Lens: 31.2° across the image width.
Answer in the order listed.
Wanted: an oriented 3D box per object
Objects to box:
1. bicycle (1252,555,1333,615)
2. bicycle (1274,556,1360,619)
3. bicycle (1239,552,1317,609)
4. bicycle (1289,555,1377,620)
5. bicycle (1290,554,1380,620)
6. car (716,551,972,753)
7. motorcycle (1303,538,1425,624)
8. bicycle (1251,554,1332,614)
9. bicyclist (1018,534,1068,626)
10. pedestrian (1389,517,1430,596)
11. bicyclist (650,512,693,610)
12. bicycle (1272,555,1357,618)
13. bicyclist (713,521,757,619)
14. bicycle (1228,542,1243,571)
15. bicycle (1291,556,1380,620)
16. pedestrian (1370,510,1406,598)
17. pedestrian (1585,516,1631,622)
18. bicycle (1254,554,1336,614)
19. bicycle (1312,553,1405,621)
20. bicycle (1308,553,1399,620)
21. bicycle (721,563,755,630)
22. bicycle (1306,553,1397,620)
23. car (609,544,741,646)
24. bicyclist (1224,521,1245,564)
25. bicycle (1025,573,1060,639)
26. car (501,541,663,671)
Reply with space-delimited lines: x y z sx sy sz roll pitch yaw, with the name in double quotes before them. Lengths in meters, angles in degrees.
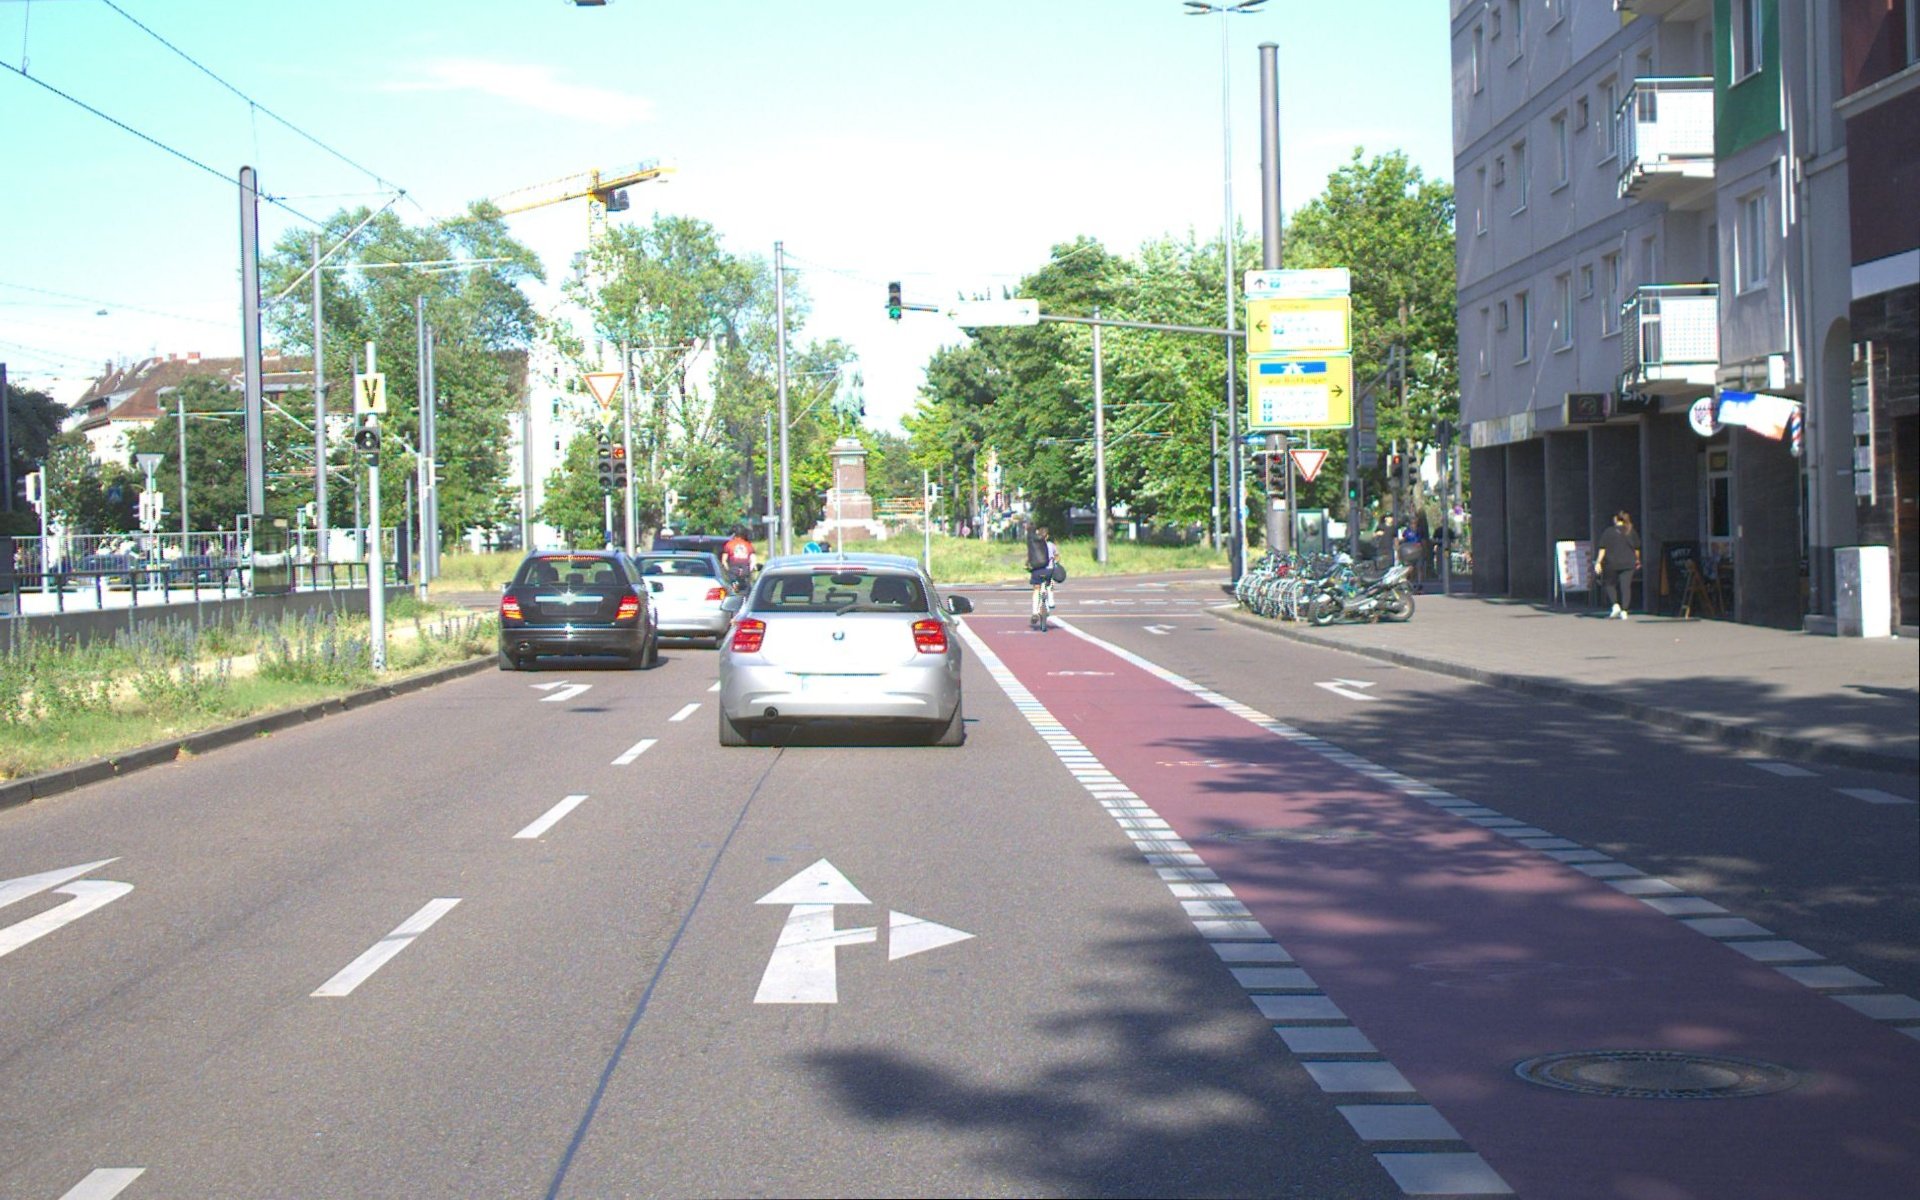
"bicycle" 6.231 -0.283 64.426 1.465 1.063 0.257 -2 0 1
"bicycle" 6.351 -0.222 61.127 1.465 1.063 0.257 -2 0 1
"bicycle" 6.205 -0.380 67.090 1.465 1.063 0.257 -2 0 1
"bicycle" 6.443 -0.221 59.393 1.465 1.063 0.257 -2 0 1
"bicycle" 6.349 -0.226 58.213 1.465 1.063 0.257 -2 0 1
"car" -0.866 0.338 26.226 1.798 1.410 4.000 0 1 -1
"motorcycle" 6.471 -0.310 55.099 1.855 1.296 0.652 -2 0 2
"bicycle" 6.237 -0.303 64.743 1.465 1.063 0.257 -2 0 1
"bicyclist" 1.386 -0.347 57.866 0.785 1.526 0.895 1 1 -1
"pedestrian" 10.584 -1.023 80.940 0.826 1.850 0.916 1 1 14
"bicyclist" -4.649 -0.631 55.357 0.616 1.566 0.686 1 1 0
"bicycle" 6.337 -0.245 61.494 1.465 1.063 0.257 -2 0 1
"bicyclist" -3.642 -0.484 55.599 0.616 1.566 0.686 0 1 -12
"bicycle" 8.994 -1.415 112.380 0.352 0.955 1.573 1 1 0
"bicycle" 6.449 -0.207 59.021 1.465 1.063 0.257 -2 0 1
"pedestrian" 9.890 -1.056 79.431 0.791 2.007 0.870 1 1 6
"pedestrian" 9.738 -0.470 51.644 0.573 1.577 0.556 0 1 -1
"bicycle" 6.216 -0.292 63.769 1.465 1.063 0.257 -2 0 1
"bicycle" 6.553 -0.216 56.574 1.465 1.063 0.257 -2 0 1
"bicycle" 6.563 -0.225 57.335 1.465 1.063 0.257 -2 0 1
"bicycle" -3.589 -0.058 55.566 0.338 1.053 1.779 0 1 -11
"bicycle" 6.574 -0.227 57.728 1.465 1.063 0.257 -2 0 1
"car" -4.091 -0.089 49.845 1.644 1.416 4.000 0 1 -1
"bicyclist" 8.982 -1.872 112.330 0.616 1.375 0.686 1 1 0
"bicycle" 1.380 0.090 57.876 0.499 1.085 1.997 1 1 -1
"car" -4.530 0.038 41.646 1.726 1.465 4.411 -1 1 -3
